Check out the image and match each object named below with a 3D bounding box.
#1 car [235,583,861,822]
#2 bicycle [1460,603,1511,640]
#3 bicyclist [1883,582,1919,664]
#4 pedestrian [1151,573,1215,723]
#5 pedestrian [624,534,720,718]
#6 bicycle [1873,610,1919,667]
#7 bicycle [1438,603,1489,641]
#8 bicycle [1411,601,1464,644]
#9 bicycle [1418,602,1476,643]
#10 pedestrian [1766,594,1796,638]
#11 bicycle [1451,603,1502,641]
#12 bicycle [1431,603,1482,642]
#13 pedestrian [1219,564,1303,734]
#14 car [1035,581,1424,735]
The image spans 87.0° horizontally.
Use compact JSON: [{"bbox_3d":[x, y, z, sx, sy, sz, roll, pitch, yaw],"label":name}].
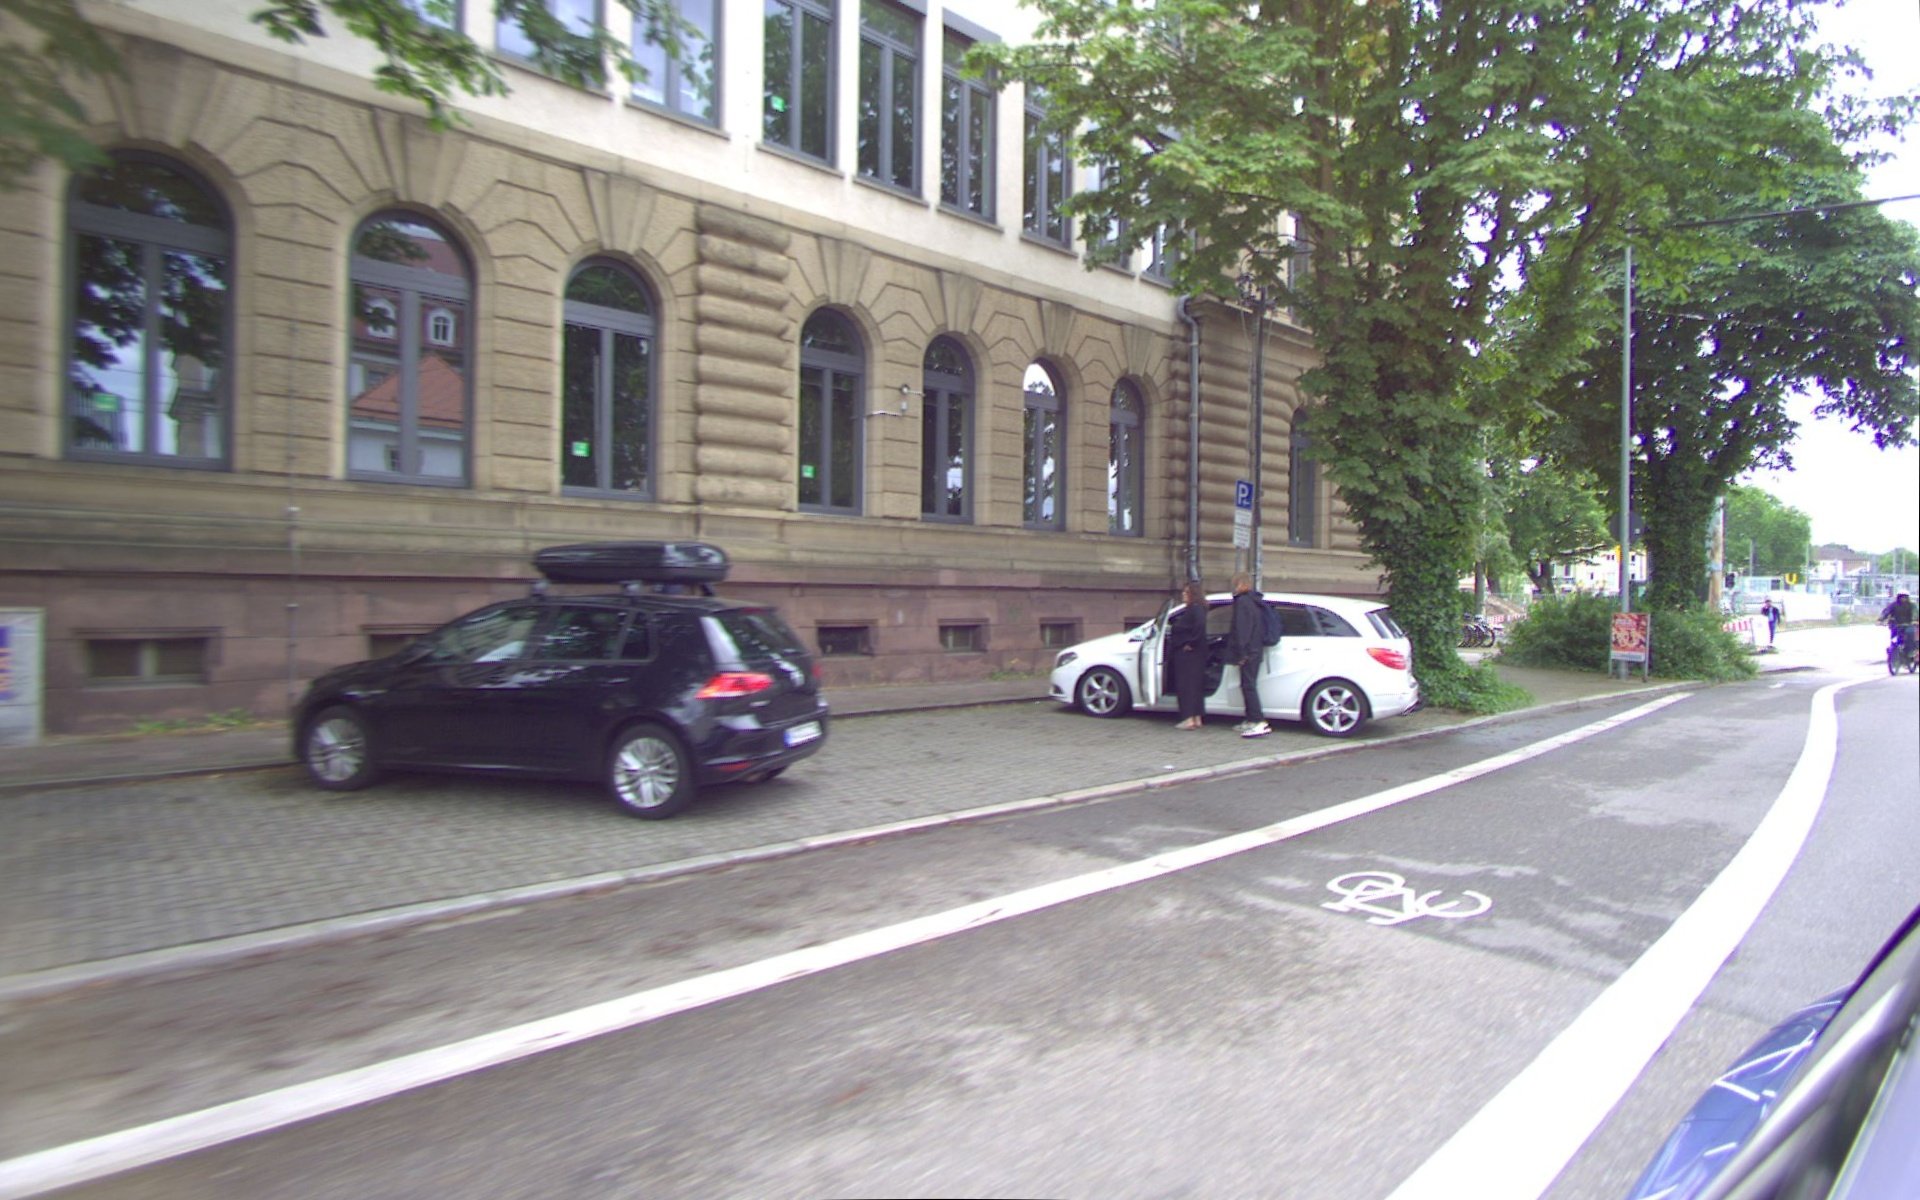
[{"bbox_3d":[-3.061,0.610,7.674,4.272,1.420,1.745,1,0,17],"label":"car"},{"bbox_3d":[16.510,0.666,31.822,0.468,1.140,1.342,0,0,-37],"label":"bicycle"},{"bbox_3d":[22.206,0.534,23.377,1.448,1.845,0.883,2,-1,-28],"label":"bicyclist"},{"bbox_3d":[2.538,0.519,11.485,0.586,1.646,0.638,0,0,25],"label":"pedestrian"},{"bbox_3d":[-3.063,0.251,10.749,0.738,1.861,0.680,0,2,-41],"label":"pedestrian"},{"bbox_3d":[22.107,0.870,23.320,2.262,1.257,0.855,1,-1,-27],"label":"bicycle"},{"bbox_3d":[15.530,0.669,31.227,0.468,1.140,1.342,0,0,-37],"label":"bicycle"},{"bbox_3d":[14.271,0.661,30.283,0.417,1.175,1.384,-2,4,-36],"label":"bicycle"},{"bbox_3d":[14.750,0.672,30.699,0.468,1.139,1.525,-1,3,-37],"label":"bicycle"},{"bbox_3d":[33.458,0.643,41.235,0.912,1.730,1.143,0,0,38],"label":"pedestrian"},{"bbox_3d":[16.007,0.669,31.406,0.468,1.140,1.342,0,0,-37],"label":"bicycle"},{"bbox_3d":[15.160,0.672,30.902,0.468,1.140,1.342,0,0,-37],"label":"bicycle"},{"bbox_3d":[3.253,0.508,10.955,0.601,1.773,0.688,0,0,-13],"label":"pedestrian"},{"bbox_3d":[3.206,0.575,12.213,4.285,1.571,1.733,1,0,28],"label":"car"}]
